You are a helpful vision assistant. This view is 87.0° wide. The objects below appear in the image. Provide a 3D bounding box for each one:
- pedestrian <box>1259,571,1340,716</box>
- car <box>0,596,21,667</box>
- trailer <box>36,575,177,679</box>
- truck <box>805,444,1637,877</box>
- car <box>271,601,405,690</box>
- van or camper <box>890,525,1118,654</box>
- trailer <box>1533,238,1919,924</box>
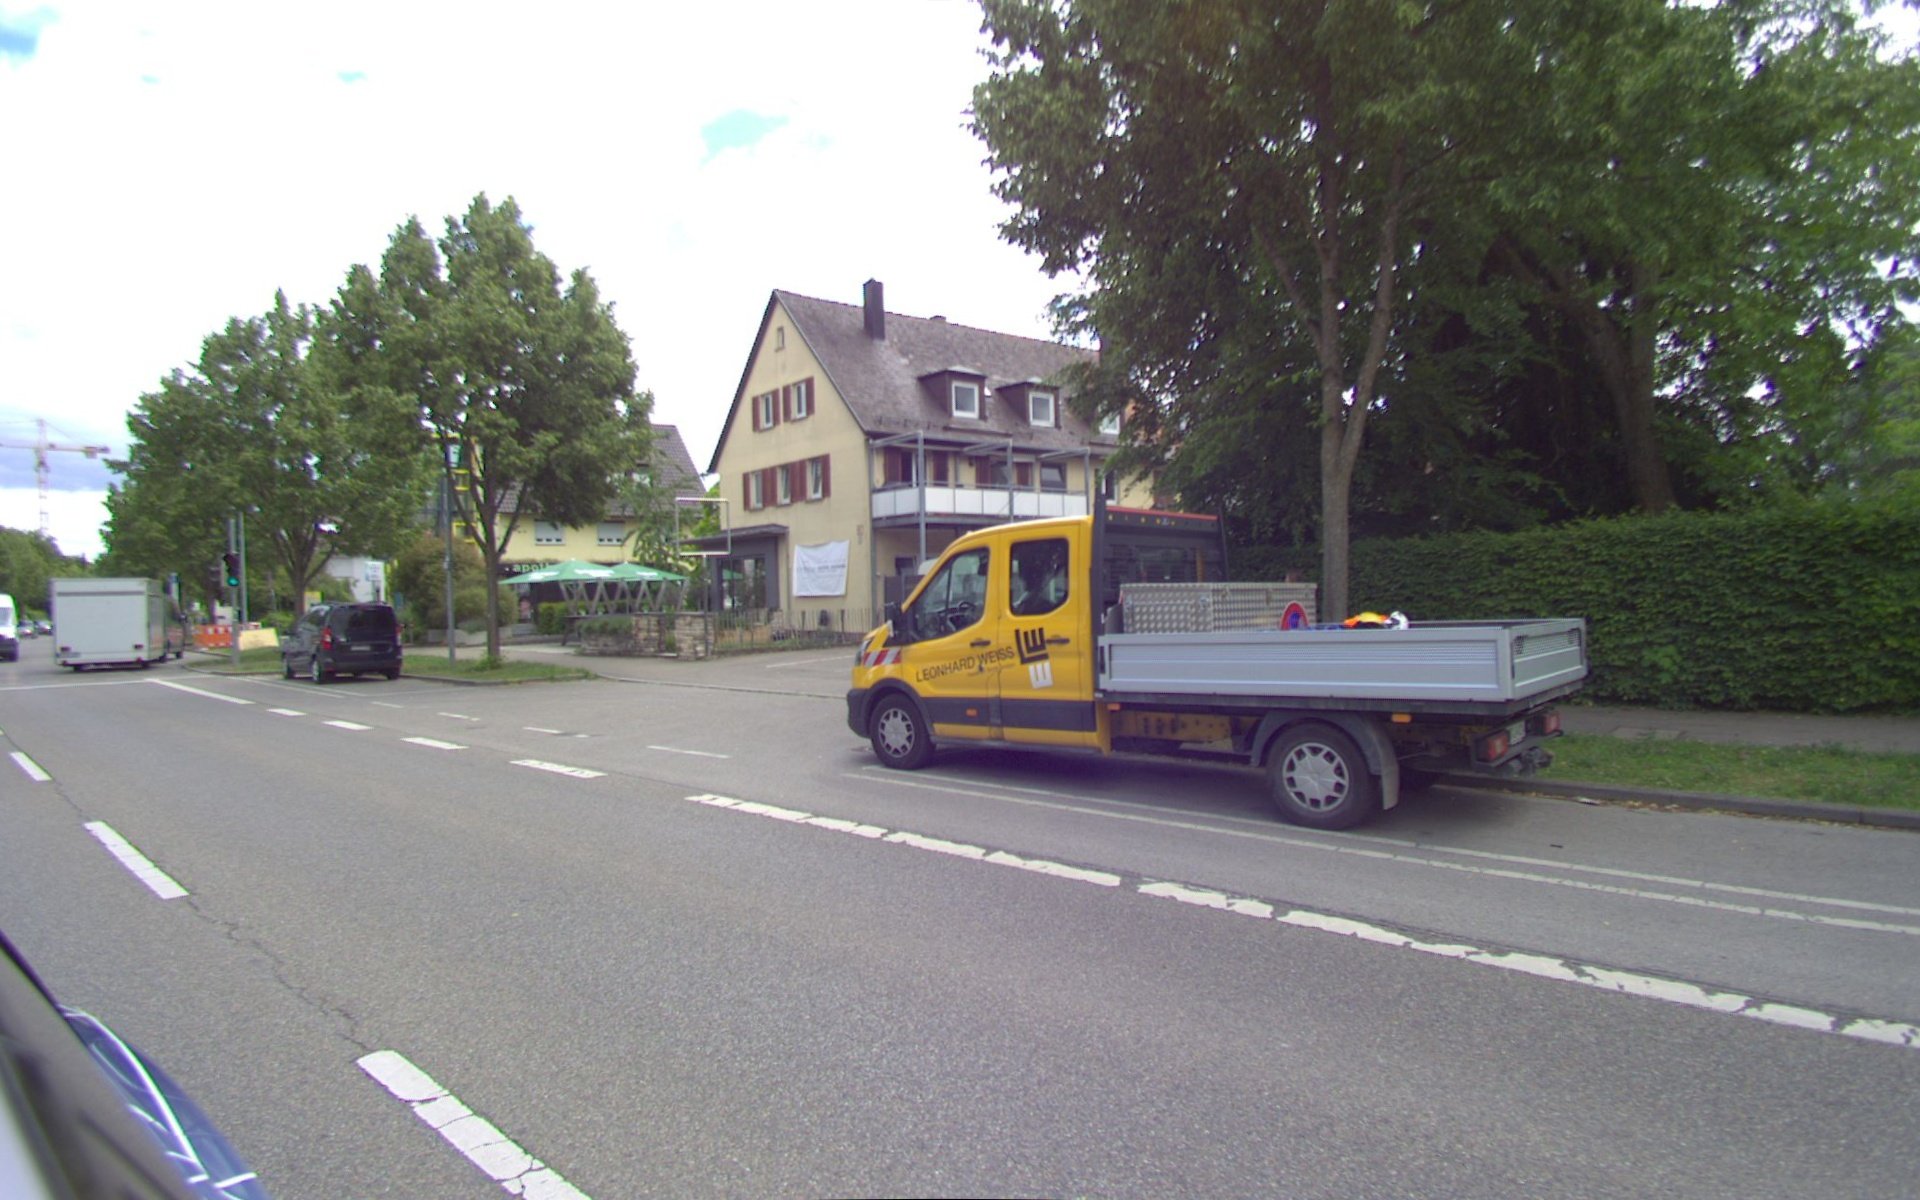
[{"bbox_3d":[4.250,0.528,12.691,0.722,1.755,0.634,-2,-1,44],"label":"pedestrian"},{"bbox_3d":[-37.398,1.235,38.744,1.969,2.619,4.005,-2,0,-41],"label":"car"},{"bbox_3d":[-26.760,0.800,32.031,2.599,2.900,6.889,-1,-1,-33],"label":"trailer"},{"bbox_3d":[1.579,0.382,8.475,6.465,2.304,2.269,-2,-1,44],"label":"truck"},{"bbox_3d":[-14.764,1.023,23.905,4.400,1.888,1.688,-2,-1,45],"label":"car"},{"bbox_3d":[0.954,-0.200,26.027,2.563,2.905,5.949,-1,-1,-38],"label":"van or camper"},{"bbox_3d":[6.431,-0.129,3.829,7.013,2.985,2.345,-2,-1,44],"label":"trailer"}]
